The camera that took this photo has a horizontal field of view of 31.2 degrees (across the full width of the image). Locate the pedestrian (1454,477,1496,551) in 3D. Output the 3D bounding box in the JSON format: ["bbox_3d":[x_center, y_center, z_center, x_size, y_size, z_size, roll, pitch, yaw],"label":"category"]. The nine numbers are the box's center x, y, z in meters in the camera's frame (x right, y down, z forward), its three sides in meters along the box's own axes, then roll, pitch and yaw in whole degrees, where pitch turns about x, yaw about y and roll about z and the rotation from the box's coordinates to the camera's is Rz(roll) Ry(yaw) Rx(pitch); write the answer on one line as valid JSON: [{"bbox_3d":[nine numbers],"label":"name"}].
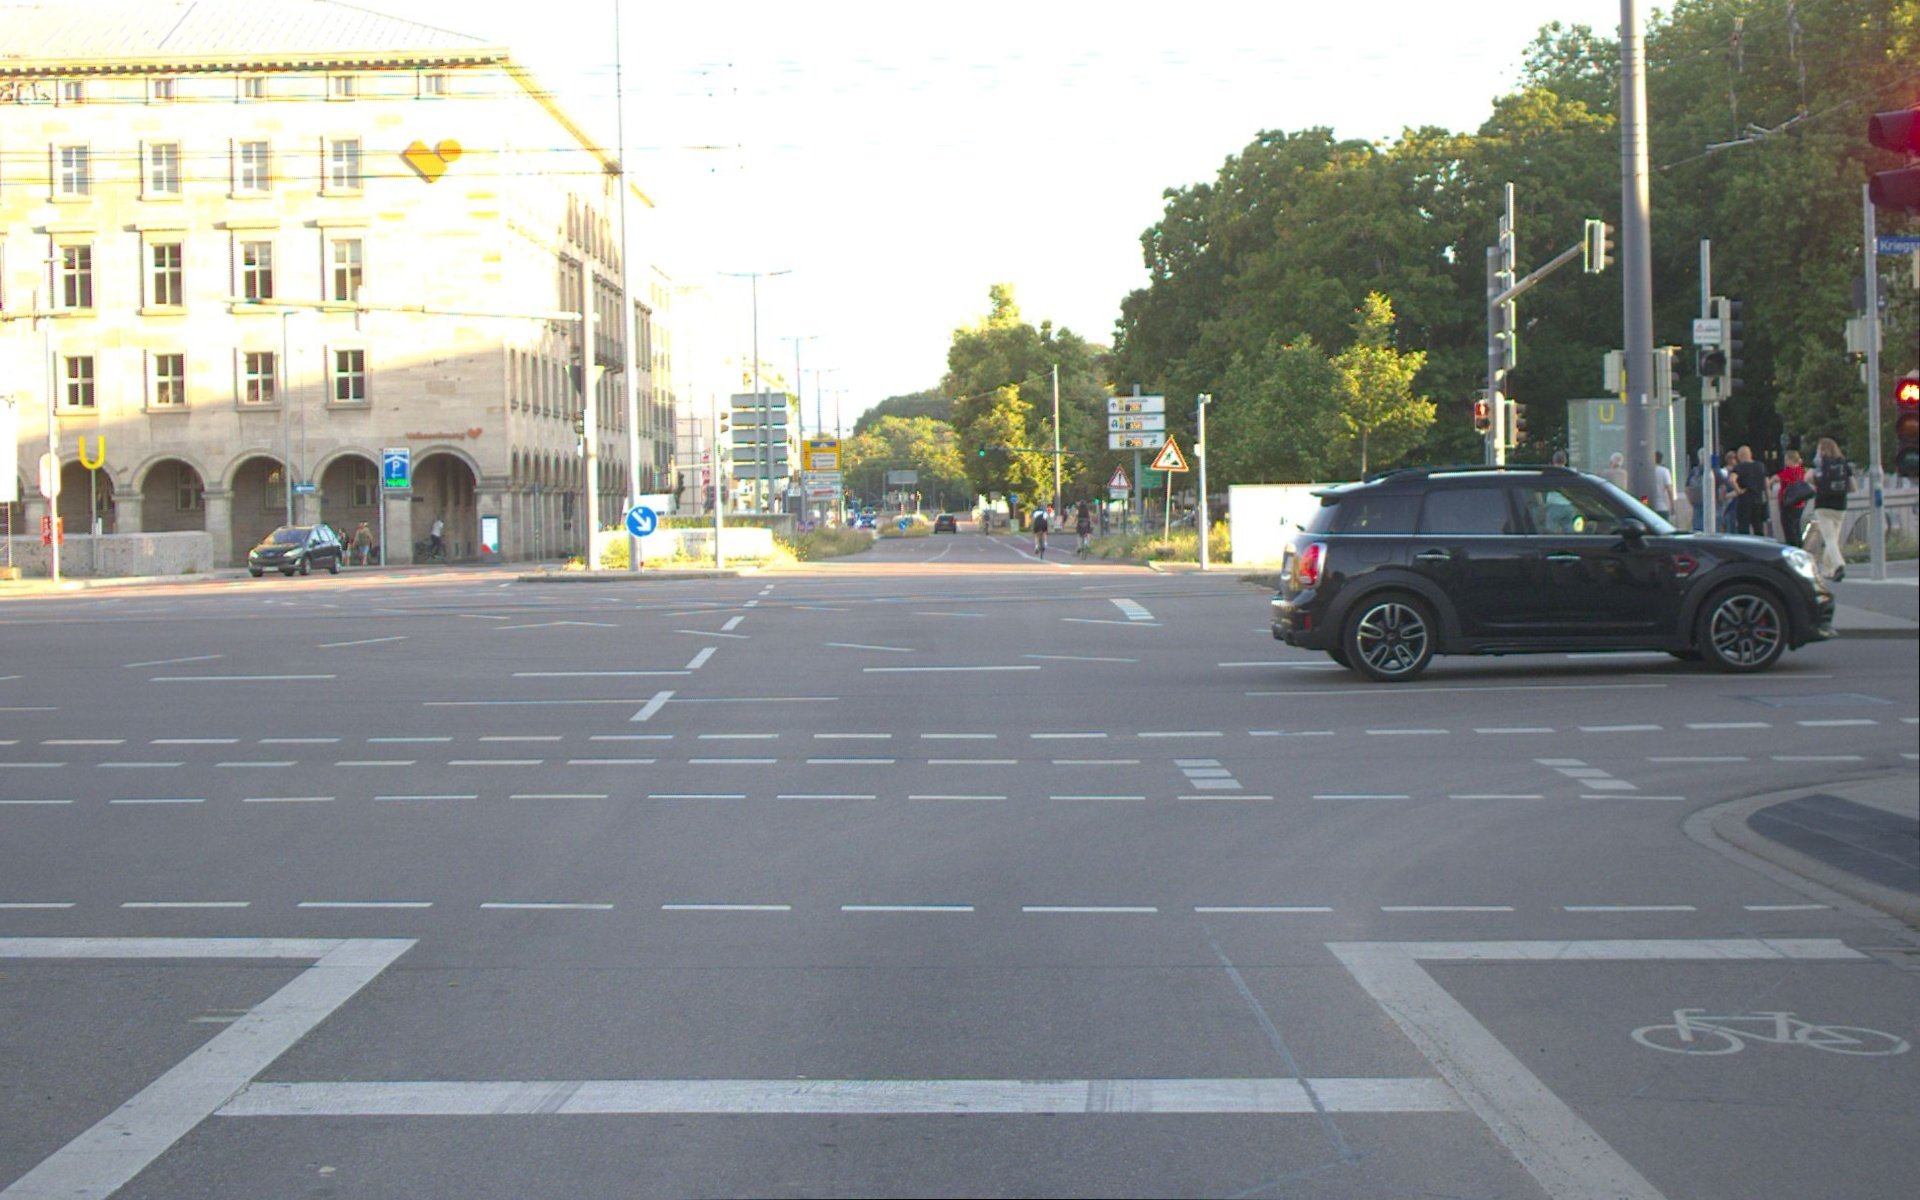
[{"bbox_3d":[12.218,-2.046,81.530,0.808,1.724,0.929,-1,2,-2],"label":"pedestrian"}]

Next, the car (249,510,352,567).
[{"bbox_3d":[-20.345,-1.907,106.170,1.994,1.656,3.999,-1,2,7],"label":"car"}]

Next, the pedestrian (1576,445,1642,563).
[{"bbox_3d":[9.623,-1.422,51.005,0.808,1.724,0.688,-1,2,-2],"label":"pedestrian"}]

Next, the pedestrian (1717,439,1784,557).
[{"bbox_3d":[11.757,-1.515,51.156,0.808,1.724,0.688,-1,2,-1],"label":"pedestrian"}]

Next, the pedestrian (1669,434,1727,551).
[{"bbox_3d":[10.996,-1.598,51.216,0.808,1.724,0.687,-1,2,12],"label":"pedestrian"}]

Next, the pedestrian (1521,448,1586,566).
[{"bbox_3d":[8.799,-1.384,50.995,0.808,1.724,0.688,-1,2,-2],"label":"pedestrian"}]

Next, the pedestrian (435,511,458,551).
[{"bbox_3d":[-20.713,-2.786,138.636,0.772,1.562,0.636,-1,2,1],"label":"pedestrian"}]

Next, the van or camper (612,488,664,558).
[{"bbox_3d":[-13.105,-3.174,140.293,1.883,2.750,4.933,-1,2,-3],"label":"van or camper"}]

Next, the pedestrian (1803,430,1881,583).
[{"bbox_3d":[10.113,-1.076,39.433,0.692,1.724,0.741,-1,2,2],"label":"pedestrian"}]

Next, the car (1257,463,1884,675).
[{"bbox_3d":[4.656,-0.268,26.740,4.460,1.490,2.128,-1,2,-1],"label":"car"}]

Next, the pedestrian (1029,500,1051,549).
[{"bbox_3d":[2.288,-2.163,98.418,0.522,1.369,0.688,-1,2,-4],"label":"pedestrian"}]

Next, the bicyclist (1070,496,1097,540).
[{"bbox_3d":[3.527,-2.338,98.158,0.651,1.219,0.861,-1,2,-4],"label":"bicyclist"}]

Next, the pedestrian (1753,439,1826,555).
[{"bbox_3d":[12.470,-1.546,51.715,0.685,1.724,0.811,-2,2,-26],"label":"pedestrian"}]

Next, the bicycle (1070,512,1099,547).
[{"bbox_3d":[3.552,-2.029,98.188,0.651,0.967,1.485,-1,2,-4],"label":"bicycle"}]

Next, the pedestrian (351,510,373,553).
[{"bbox_3d":[-21.976,-2.525,126.288,0.633,1.562,0.775,-1,2,1],"label":"pedestrian"}]

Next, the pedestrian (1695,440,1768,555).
[{"bbox_3d":[11.801,-1.569,52.594,0.686,1.724,0.811,-2,2,-33],"label":"pedestrian"}]

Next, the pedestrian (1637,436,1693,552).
[{"bbox_3d":[10.645,-1.601,51.904,0.808,1.724,0.687,-1,2,12],"label":"pedestrian"}]
